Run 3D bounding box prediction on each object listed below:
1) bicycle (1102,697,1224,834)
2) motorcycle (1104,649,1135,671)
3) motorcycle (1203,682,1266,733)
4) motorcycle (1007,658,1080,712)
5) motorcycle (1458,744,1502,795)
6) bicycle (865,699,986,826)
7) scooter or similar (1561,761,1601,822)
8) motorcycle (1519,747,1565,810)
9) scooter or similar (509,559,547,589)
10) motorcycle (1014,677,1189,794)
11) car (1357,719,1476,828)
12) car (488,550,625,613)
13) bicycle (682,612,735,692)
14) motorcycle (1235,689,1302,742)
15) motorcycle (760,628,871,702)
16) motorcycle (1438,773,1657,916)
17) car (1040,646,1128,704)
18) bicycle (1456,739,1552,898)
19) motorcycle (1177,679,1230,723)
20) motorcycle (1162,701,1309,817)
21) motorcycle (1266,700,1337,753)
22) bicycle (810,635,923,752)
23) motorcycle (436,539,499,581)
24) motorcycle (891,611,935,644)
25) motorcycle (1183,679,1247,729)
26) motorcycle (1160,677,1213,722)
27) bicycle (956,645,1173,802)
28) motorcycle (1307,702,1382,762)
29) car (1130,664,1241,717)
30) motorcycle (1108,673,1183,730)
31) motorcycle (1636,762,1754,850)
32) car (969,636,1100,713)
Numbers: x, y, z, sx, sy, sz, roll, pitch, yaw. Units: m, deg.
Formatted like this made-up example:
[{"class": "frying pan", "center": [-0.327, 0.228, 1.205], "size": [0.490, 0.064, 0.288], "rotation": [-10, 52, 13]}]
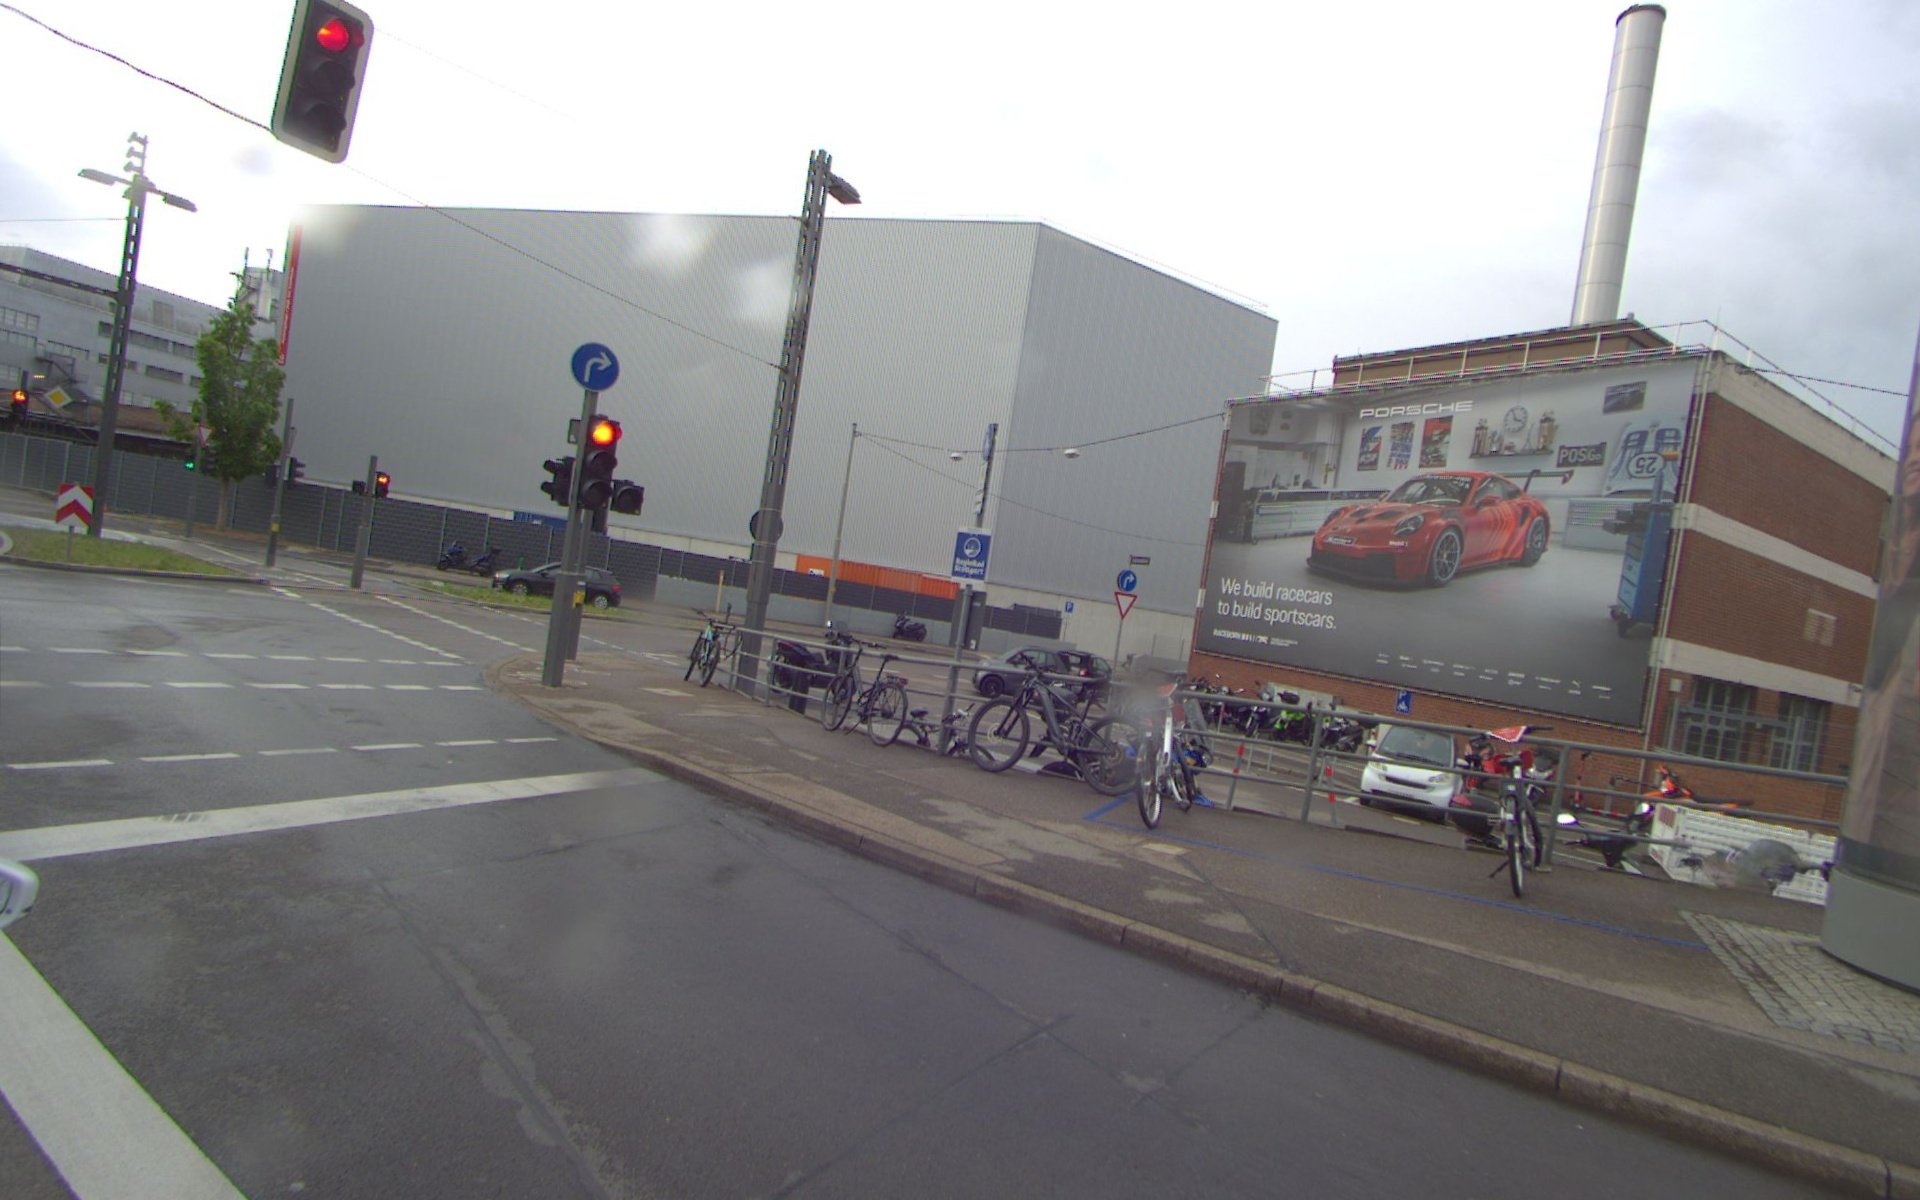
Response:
[{"class": "bicycle", "center": [1.744, 1.329, 8.431], "size": [0.414, 0.973, 1.744], "rotation": [6, -1, 29]}, {"class": "motorcycle", "center": [10.174, 3.835, 64.068], "size": [0.622, 1.088, 1.906], "rotation": [8, 0, -38]}, {"class": "motorcycle", "center": [7.439, 2.923, 27.210], "size": [1.631, 1.194, 0.541], "rotation": [8, -2, -30]}, {"class": "motorcycle", "center": [2.128, 2.160, 25.611], "size": [1.702, 1.159, 0.492], "rotation": [8, -2, -24]}, {"class": "motorcycle", "center": [11.339, 3.680, 21.926], "size": [0.533, 0.984, 1.613], "rotation": [6, -2, 36]}, {"class": "bicycle", "center": [-0.422, 1.757, 11.136], "size": [0.344, 1.097, 1.728], "rotation": [7, -1, -35]}, {"class": "scooter or similar", "center": [12.906, 3.949, 20.882], "size": [0.496, 1.109, 1.635], "rotation": [6, -2, 36]}, {"class": "motorcycle", "center": [12.362, 3.756, 21.329], "size": [0.576, 1.165, 1.717], "rotation": [6, -2, 36]}, {"class": "scooter or similar", "center": [-17.860, -1.086, 41.602], "size": [1.247, 1.041, 0.385], "rotation": [9, 0, 0]}, {"class": "motorcycle", "center": [1.420, 1.363, 10.376], "size": [1.722, 0.906, 0.545], "rotation": [6, -1, 44]}, {"class": "car", "center": [8.596, 3.118, 18.764], "size": [1.541, 1.506, 3.996], "rotation": [8, -1, 29]}, {"class": "car", "center": [-13.485, -0.620, 33.634], "size": [3.958, 1.442, 1.707], "rotation": [9, -1, -30]}, {"class": "bicycle", "center": [-4.084, 0.804, 16.225], "size": [0.416, 1.143, 2.064], "rotation": [7, -2, -22]}, {"class": "motorcycle", "center": [8.075, 3.025, 26.323], "size": [1.695, 1.194, 0.541], "rotation": [8, -2, -30]}, {"class": "motorcycle", "center": [-2.609, 1.215, 18.402], "size": [0.481, 1.158, 2.086], "rotation": [6, -3, 41]}, {"class": "motorcycle", "center": [5.065, 2.094, 8.748], "size": [1.512, 0.901, 0.403], "rotation": [6, 0, 19]}, {"class": "car", "center": [4.134, 2.490, 33.273], "size": [1.530, 1.510, 2.745], "rotation": [11, 0, 37]}, {"class": "bicycle", "center": [4.053, 1.552, 7.446], "size": [0.414, 0.933, 1.613], "rotation": [8, 0, 32]}, {"class": "motorcycle", "center": [7.396, 3.054, 30.629], "size": [0.538, 1.123, 1.639], "rotation": [8, -2, -25]}, {"class": "motorcycle", "center": [2.662, 1.511, 9.734], "size": [1.241, 0.901, 0.434], "rotation": [6, 0, 23]}, {"class": "motorcycle", "center": [8.515, 3.150, 25.038], "size": [1.789, 1.132, 0.474], "rotation": [8, -2, -28]}, {"class": "bicycle", "center": [-1.085, 1.016, 11.346], "size": [0.344, 1.097, 1.728], "rotation": [7, -1, -35]}, {"class": "motorcycle", "center": [-19.814, -1.599, 40.499], "size": [2.082, 1.326, 0.649], "rotation": [10, 0, -33]}, {"class": "motorcycle", "center": [-2.414, 1.410, 51.872], "size": [2.082, 1.393, 0.649], "rotation": [10, 0, -33]}, {"class": "motorcycle", "center": [7.207, 2.936, 28.405], "size": [1.631, 1.194, 0.670], "rotation": [8, -2, -30]}, {"class": "motorcycle", "center": [6.685, 2.929, 29.767], "size": [0.538, 1.133, 1.593], "rotation": [8, -2, -25]}, {"class": "bicycle", "center": [0.978, 1.147, 9.712], "size": [1.981, 1.189, 0.400], "rotation": [6, 0, 30]}, {"class": "motorcycle", "center": [9.326, 3.197, 24.379], "size": [1.788, 1.253, 0.540], "rotation": [8, 1, -30]}, {"class": "car", "center": [8.315, 3.330, 36.964], "size": [4.070, 1.460, 1.554], "rotation": [9, -2, -35]}, {"class": "motorcycle", "center": [4.449, 2.440, 24.271], "size": [0.539, 1.123, 1.850], "rotation": [8, -2, -32]}, {"class": "motorcycle", "center": [14.142, 3.942, 19.388], "size": [1.639, 1.349, 0.524], "rotation": [6, -1, 21]}, {"class": "car", "center": [1.985, 2.011, 27.385], "size": [3.190, 1.521, 1.624], "rotation": [9, 0, -4]}]
